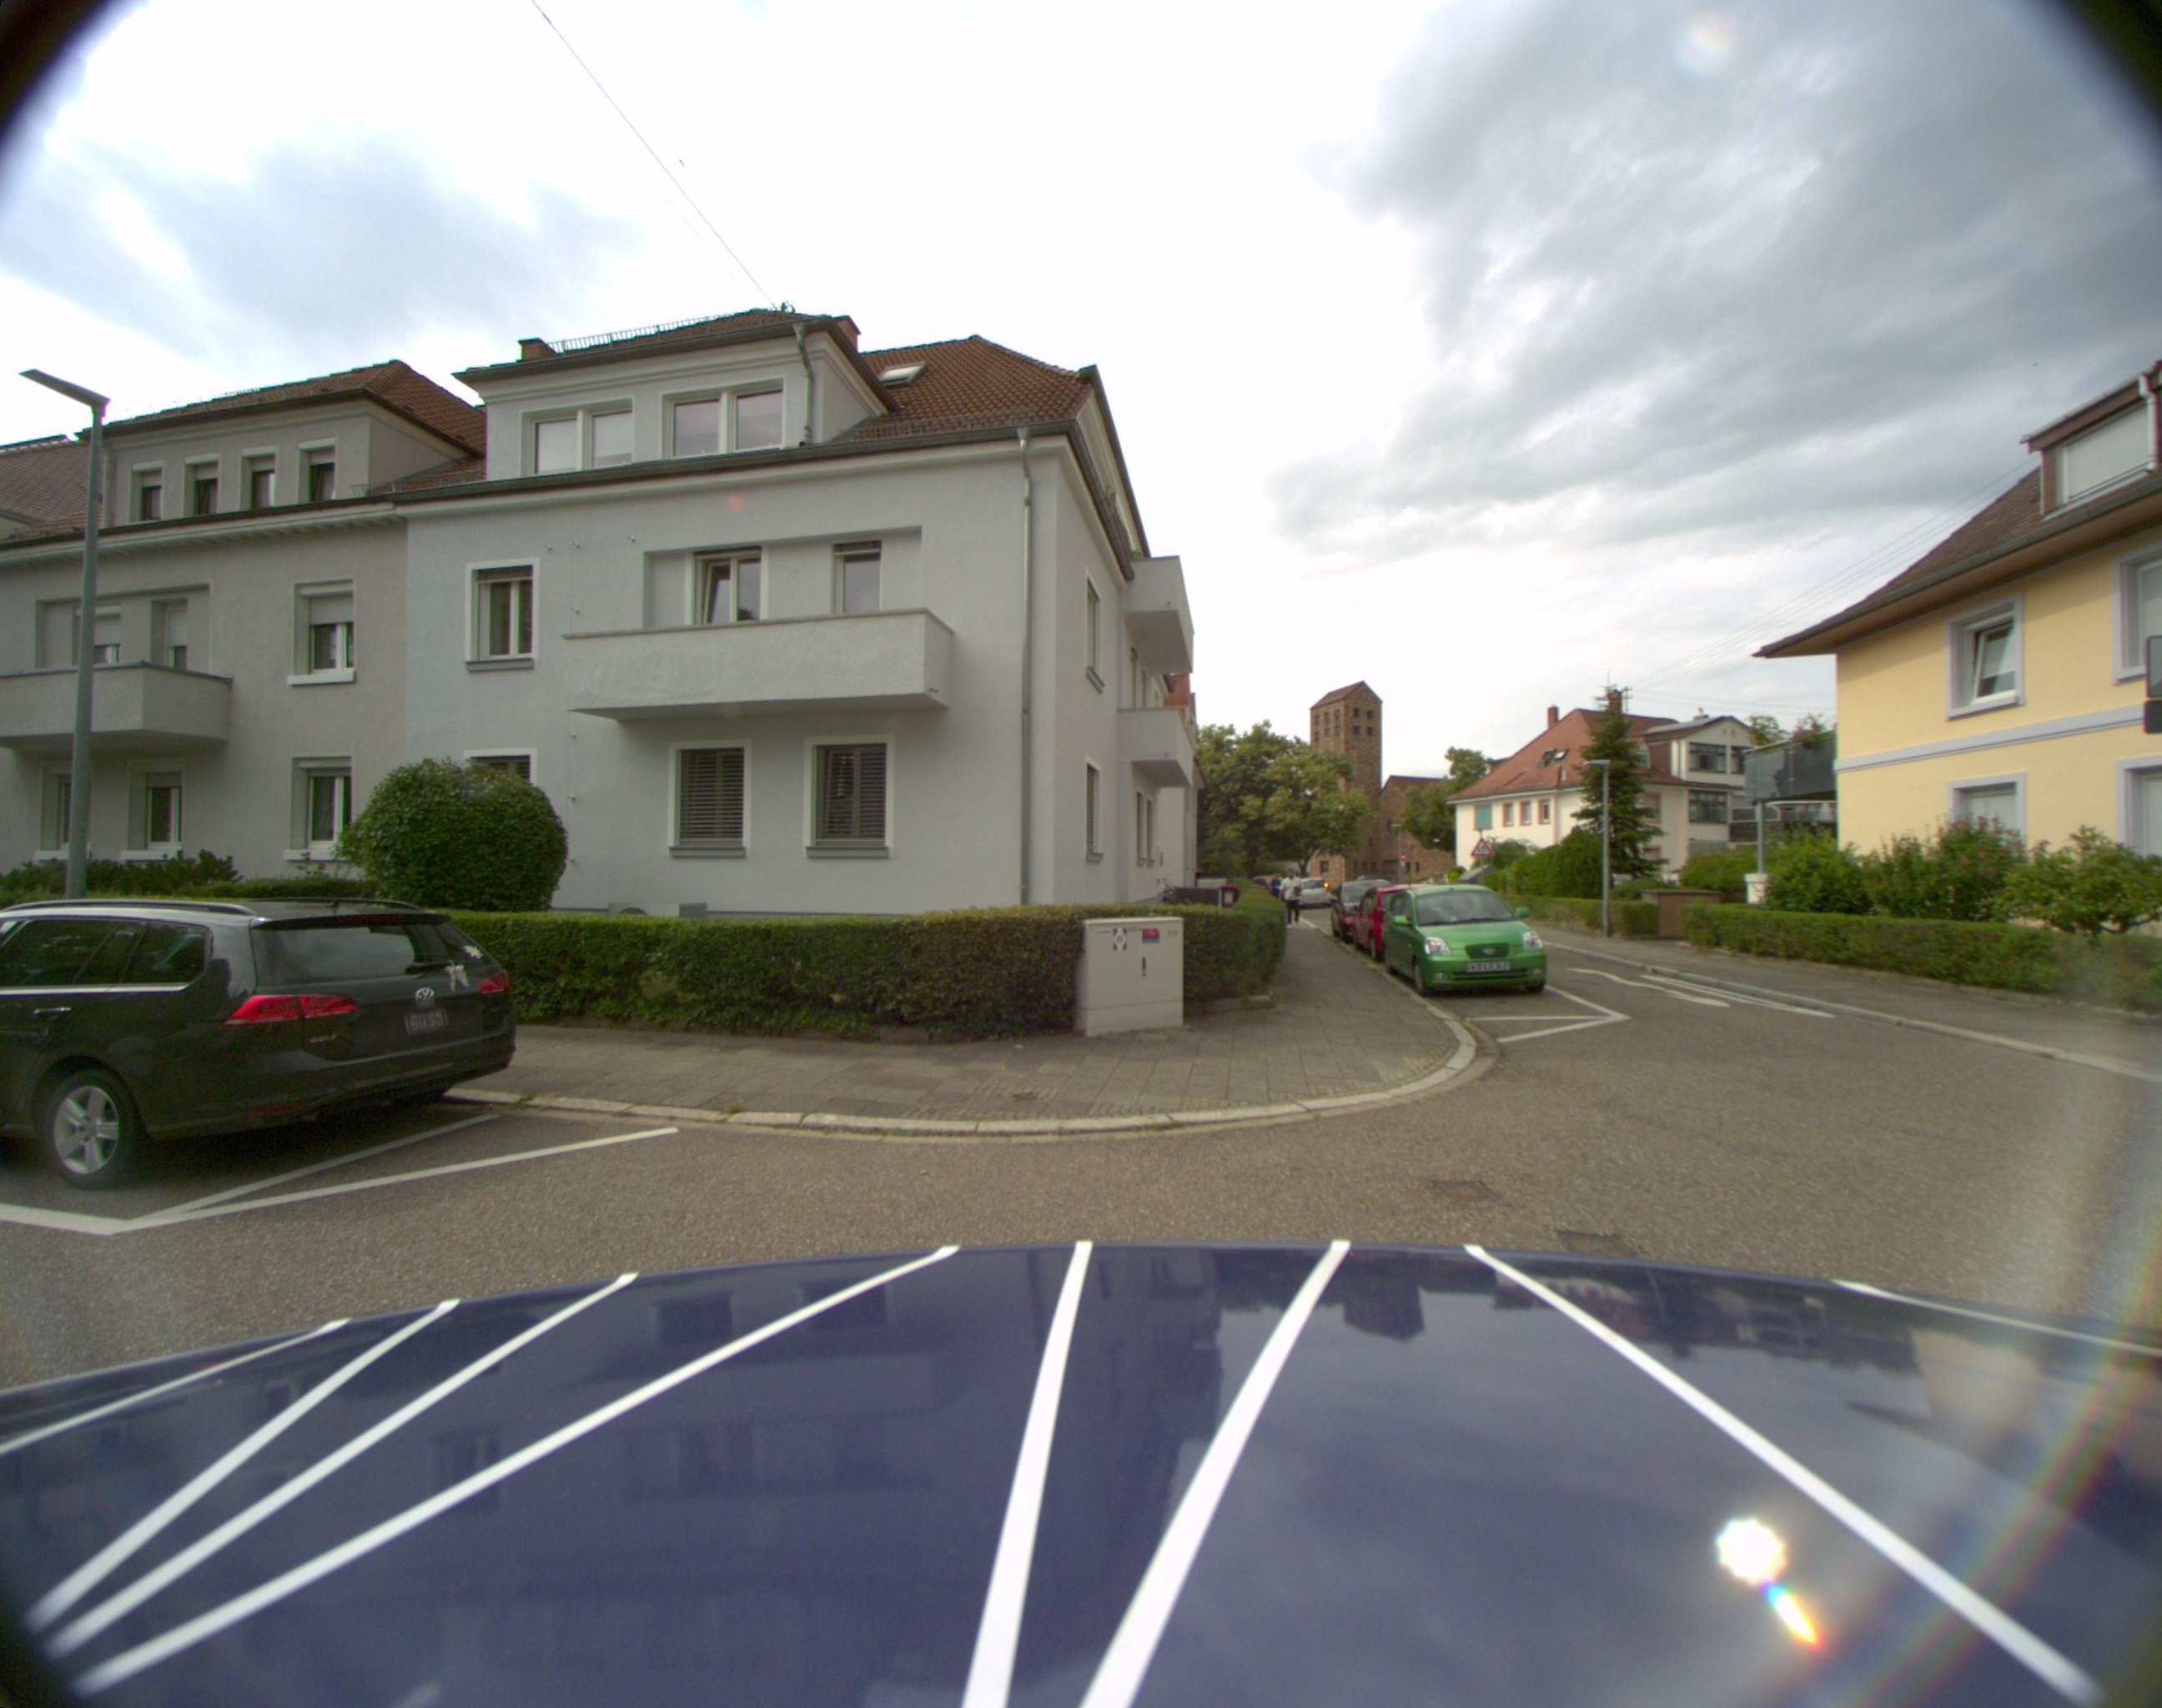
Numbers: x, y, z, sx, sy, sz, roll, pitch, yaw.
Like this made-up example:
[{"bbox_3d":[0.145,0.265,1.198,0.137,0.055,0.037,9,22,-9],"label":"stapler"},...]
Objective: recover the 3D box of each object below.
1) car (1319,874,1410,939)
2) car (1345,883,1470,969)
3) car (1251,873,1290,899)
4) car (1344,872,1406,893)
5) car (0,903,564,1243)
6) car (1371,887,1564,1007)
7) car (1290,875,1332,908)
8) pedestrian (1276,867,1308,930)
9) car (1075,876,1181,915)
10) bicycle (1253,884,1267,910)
[{"bbox_3d":[7.420,1.326,20.179,1.648,1.486,3.485,-3,-2,11],"label":"car"},{"bbox_3d":[6.668,1.421,15.897,1.648,1.486,3.485,-3,-2,11],"label":"car"},{"bbox_3d":[11.857,1.983,47.671,1.649,1.486,3.483,-3,-2,3],"label":"car"},{"bbox_3d":[22.300,2.156,57.761,4.220,1.455,1.685,0,1,11],"label":"car"},{"bbox_3d":[-5.917,1.119,4.839,4.169,1.462,1.861,0,-1,9],"label":"car"},{"bbox_3d":[5.573,1.276,11.434,1.648,1.413,3.485,-3,-2,11],"label":"car"},{"bbox_3d":[11.512,1.829,38.173,1.648,1.486,3.485,-3,-2,11],"label":"car"},{"bbox_3d":[6.407,1.341,23.155,0.882,1.867,1.080,0,0,12],"label":"pedestrian"},{"bbox_3d":[1.936,1.632,30.577,3.993,1.455,2.002,0,-1,13],"label":"car"},{"bbox_3d":[8.280,1.979,35.136,0.422,1.097,2.117,0,-1,8],"label":"bicycle"}]
